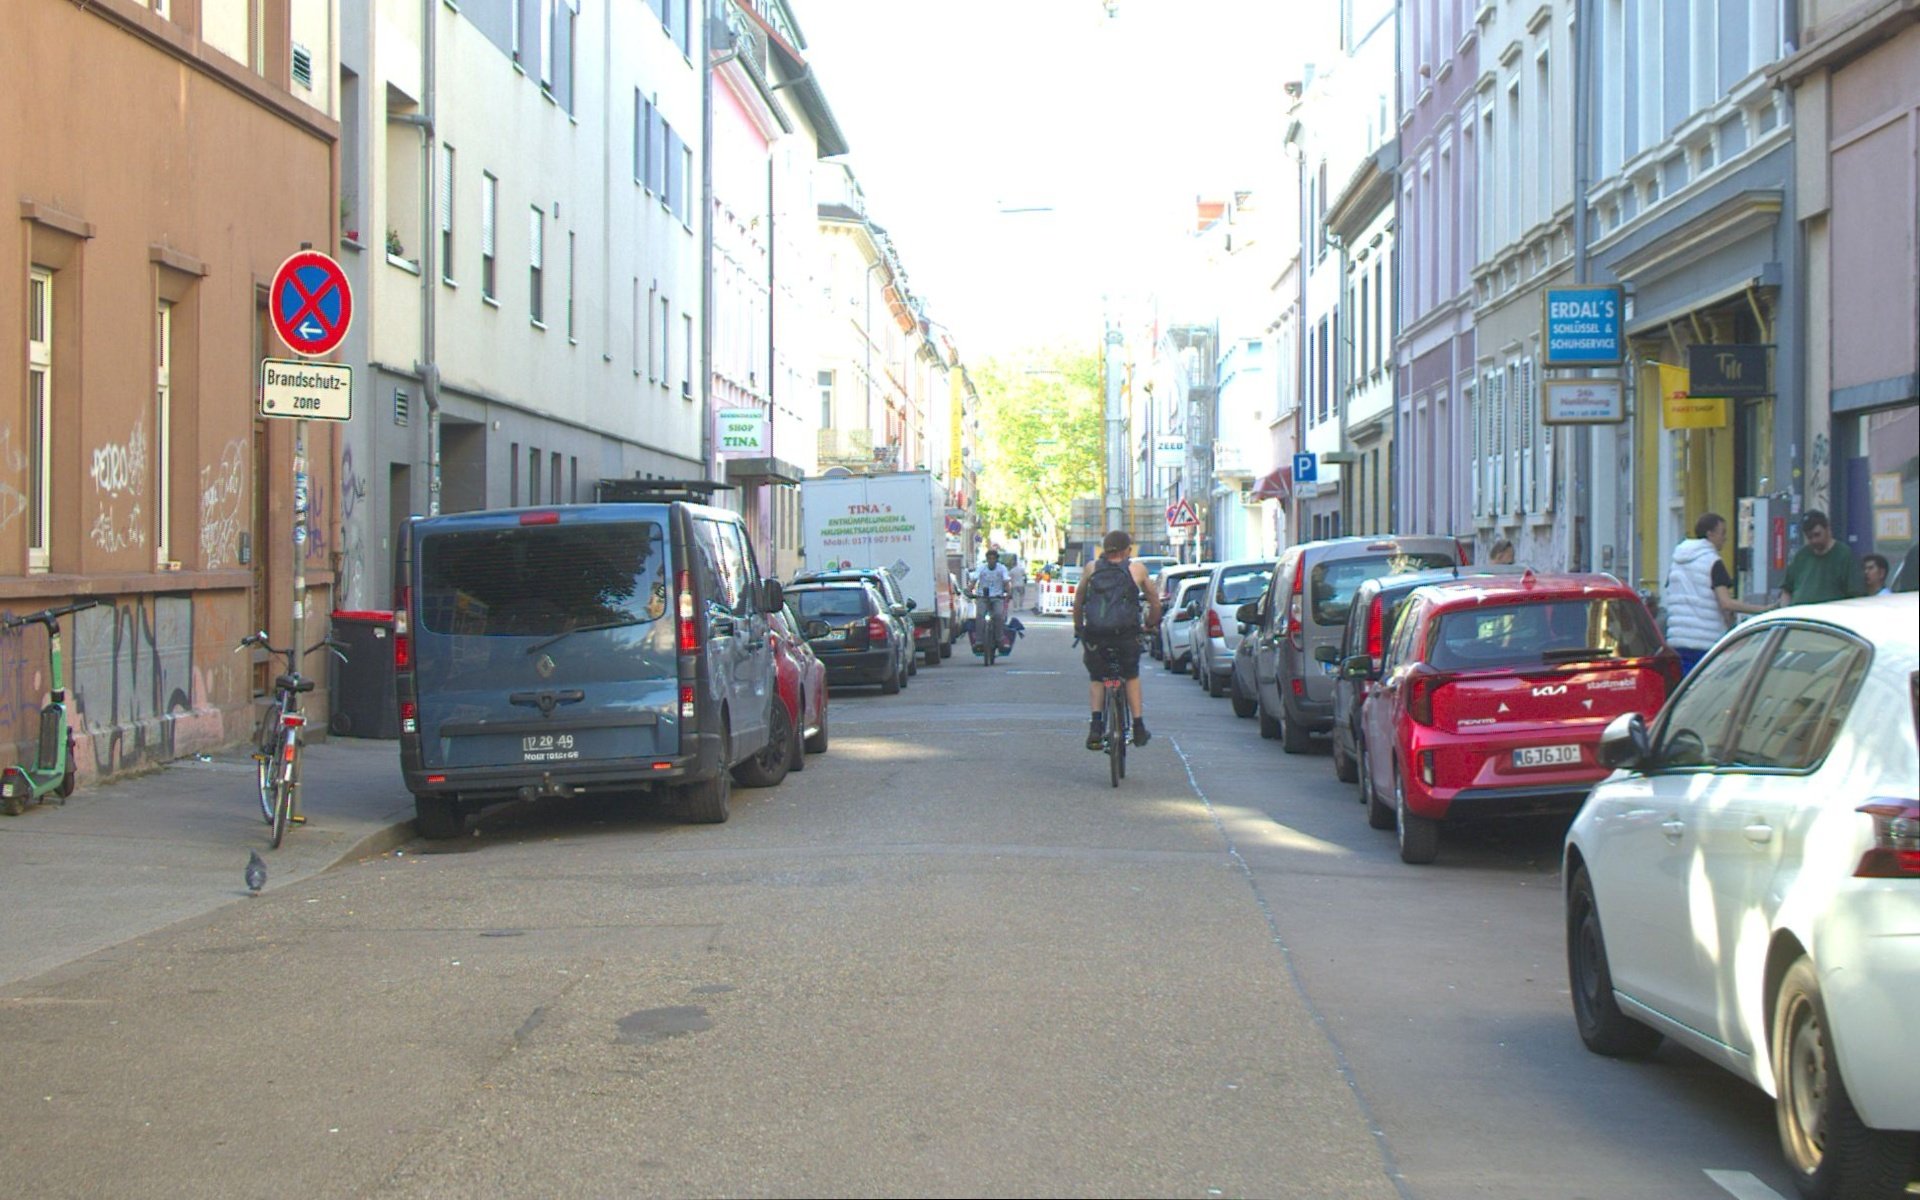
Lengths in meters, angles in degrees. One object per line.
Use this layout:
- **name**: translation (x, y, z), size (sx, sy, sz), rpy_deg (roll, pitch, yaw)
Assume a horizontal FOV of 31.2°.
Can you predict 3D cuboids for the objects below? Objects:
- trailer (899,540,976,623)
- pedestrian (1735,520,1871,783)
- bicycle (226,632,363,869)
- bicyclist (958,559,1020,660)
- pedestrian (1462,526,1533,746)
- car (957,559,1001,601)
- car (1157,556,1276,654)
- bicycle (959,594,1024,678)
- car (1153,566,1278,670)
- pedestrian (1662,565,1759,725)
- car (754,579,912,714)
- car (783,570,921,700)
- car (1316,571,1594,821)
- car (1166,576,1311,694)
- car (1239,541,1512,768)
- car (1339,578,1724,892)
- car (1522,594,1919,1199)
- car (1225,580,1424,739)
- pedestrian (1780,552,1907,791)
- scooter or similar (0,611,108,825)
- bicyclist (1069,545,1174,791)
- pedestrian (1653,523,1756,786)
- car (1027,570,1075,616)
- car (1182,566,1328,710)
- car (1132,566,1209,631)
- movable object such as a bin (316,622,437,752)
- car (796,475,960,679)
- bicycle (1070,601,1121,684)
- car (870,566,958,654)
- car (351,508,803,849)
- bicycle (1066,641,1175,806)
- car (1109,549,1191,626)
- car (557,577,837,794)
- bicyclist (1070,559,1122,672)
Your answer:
- **trailer**: translation (-0.576, -0.477, 89.461), size (1.882, 2.085, 3.737), rpy_deg (-1, 0, 1)
- **pedestrian**: translation (5.683, 0.344, 23.193), size (0.628, 1.734, 0.659), rpy_deg (1, 0, -11)
- **bicycle**: translation (-3.717, 0.806, 19.113), size (0.550, 1.212, 1.989), rpy_deg (1, 0, -16)
- **bicyclist**: translation (0.485, 0.147, 56.687), size (0.950, 1.622, 0.953), rpy_deg (-2, 0, 2)
- **pedestrian**: translation (4.223, 0.279, 27.032), size (0.441, 1.698, 0.654), rpy_deg (1, 0, 2)
- **car**: translation (0.798, -0.824, 142.818), size (1.750, 1.678, 3.796), rpy_deg (-1, 0, 1)
- **car**: translation (4.622, 0.062, 62.478), size (1.918, 1.700, 4.366), rpy_deg (0, 1, 1)
- **bicycle**: translation (0.534, 0.580, 57.067), size (0.977, 1.310, 2.555), rpy_deg (-1, 1, 3)
- **car**: translation (3.988, 0.266, 54.105), size (1.686, 1.538, 4.046), rpy_deg (-2, 0, 1)
- **pedestrian**: translation (5.837, 0.346, 26.734), size (0.531, 1.218, 0.513), rpy_deg (1, 0, 41)
- **car**: translation (-1.559, 0.549, 43.563), size (1.717, 1.473, 4.499), rpy_deg (-2, 1, 1)
- **car**: translation (-1.510, 0.465, 49.416), size (1.717, 1.645, 4.246), rpy_deg (-2, 1, 1)
- **car**: translation (3.377, 0.622, 23.915), size (1.570, 1.551, 3.313), rpy_deg (-3, 0, 3)
- **car**: translation (3.849, 0.463, 48.149), size (1.697, 1.538, 4.629), rpy_deg (-2, 0, 1)
- **car**: translation (3.543, 0.436, 30.044), size (1.899, 1.787, 4.315), rpy_deg (1, 0, 1)
- **car**: translation (3.114, 0.685, 19.349), size (1.606, 1.567, 3.553), rpy_deg (1, 0, 1)
- **car**: translation (2.843, 0.764, 9.578), size (1.787, 1.511, 4.137), rpy_deg (1, 0, -1)
- **car**: translation (3.677, 0.569, 35.181), size (1.552, 1.506, 3.612), rpy_deg (1, 0, -1)
- **pedestrian**: translation (5.748, 0.457, 22.383), size (0.587, 1.524, 0.659), rpy_deg (1, 0, -4)
- **scooter or similar**: translation (-5.443, 0.681, 20.461), size (0.347, 1.212, 1.392), rpy_deg (1, 0, 1)
- **bicyclist**: translation (1.125, 0.463, 24.120), size (0.668, 1.671, 1.097), rpy_deg (1, 0, 1)
- **pedestrian**: translation (5.004, 0.362, 23.119), size (0.561, 1.734, 0.428), rpy_deg (1, 0, 1)
- **car**: translation (3.157, -0.253, 119.827), size (1.611, 1.555, 3.610), rpy_deg (1, 0, 1)
- **car**: translation (3.673, 0.453, 43.263), size (1.556, 1.706, 3.558), rpy_deg (1, 0, 1)
- **car**: translation (4.922, -0.044, 80.855), size (1.750, 1.482, 3.799), rpy_deg (-1, 0, 3)
- **movable object such as a bin**: translation (-4.930, 0.731, 29.080), size (0.760, 1.063, 0.651), rpy_deg (1, 0, 21)
- **car**: translation (-1.348, -0.385, 60.046), size (2.344, 3.280, 7.153), rpy_deg (-2, 0, 2)
- **bicycle**: translation (1.897, 0.581, 48.378), size (0.648, 1.126, 2.136), rpy_deg (1, 0, 1)
- **car**: translation (-0.959, 0.209, 74.109), size (1.752, 1.810, 4.078), rpy_deg (-2, 0, 1)
- **car**: translation (-2.284, 0.398, 22.045), size (2.020, 1.873, 5.296), rpy_deg (1, 1, 3)
- **bicycle**: translation (1.113, 0.842, 24.139), size (0.677, 1.071, 1.942), rpy_deg (1, 0, 1)
- **car**: translation (4.718, -0.305, 85.926), size (1.750, 1.872, 3.973), rpy_deg (-1, 0, -1)
- **car**: translation (-2.001, 0.627, 27.170), size (1.751, 1.517, 3.869), rpy_deg (-3, 0, 2)
- **bicyclist**: translation (1.905, 0.215, 48.325), size (0.671, 1.562, 0.716), rpy_deg (1, 0, 0)
